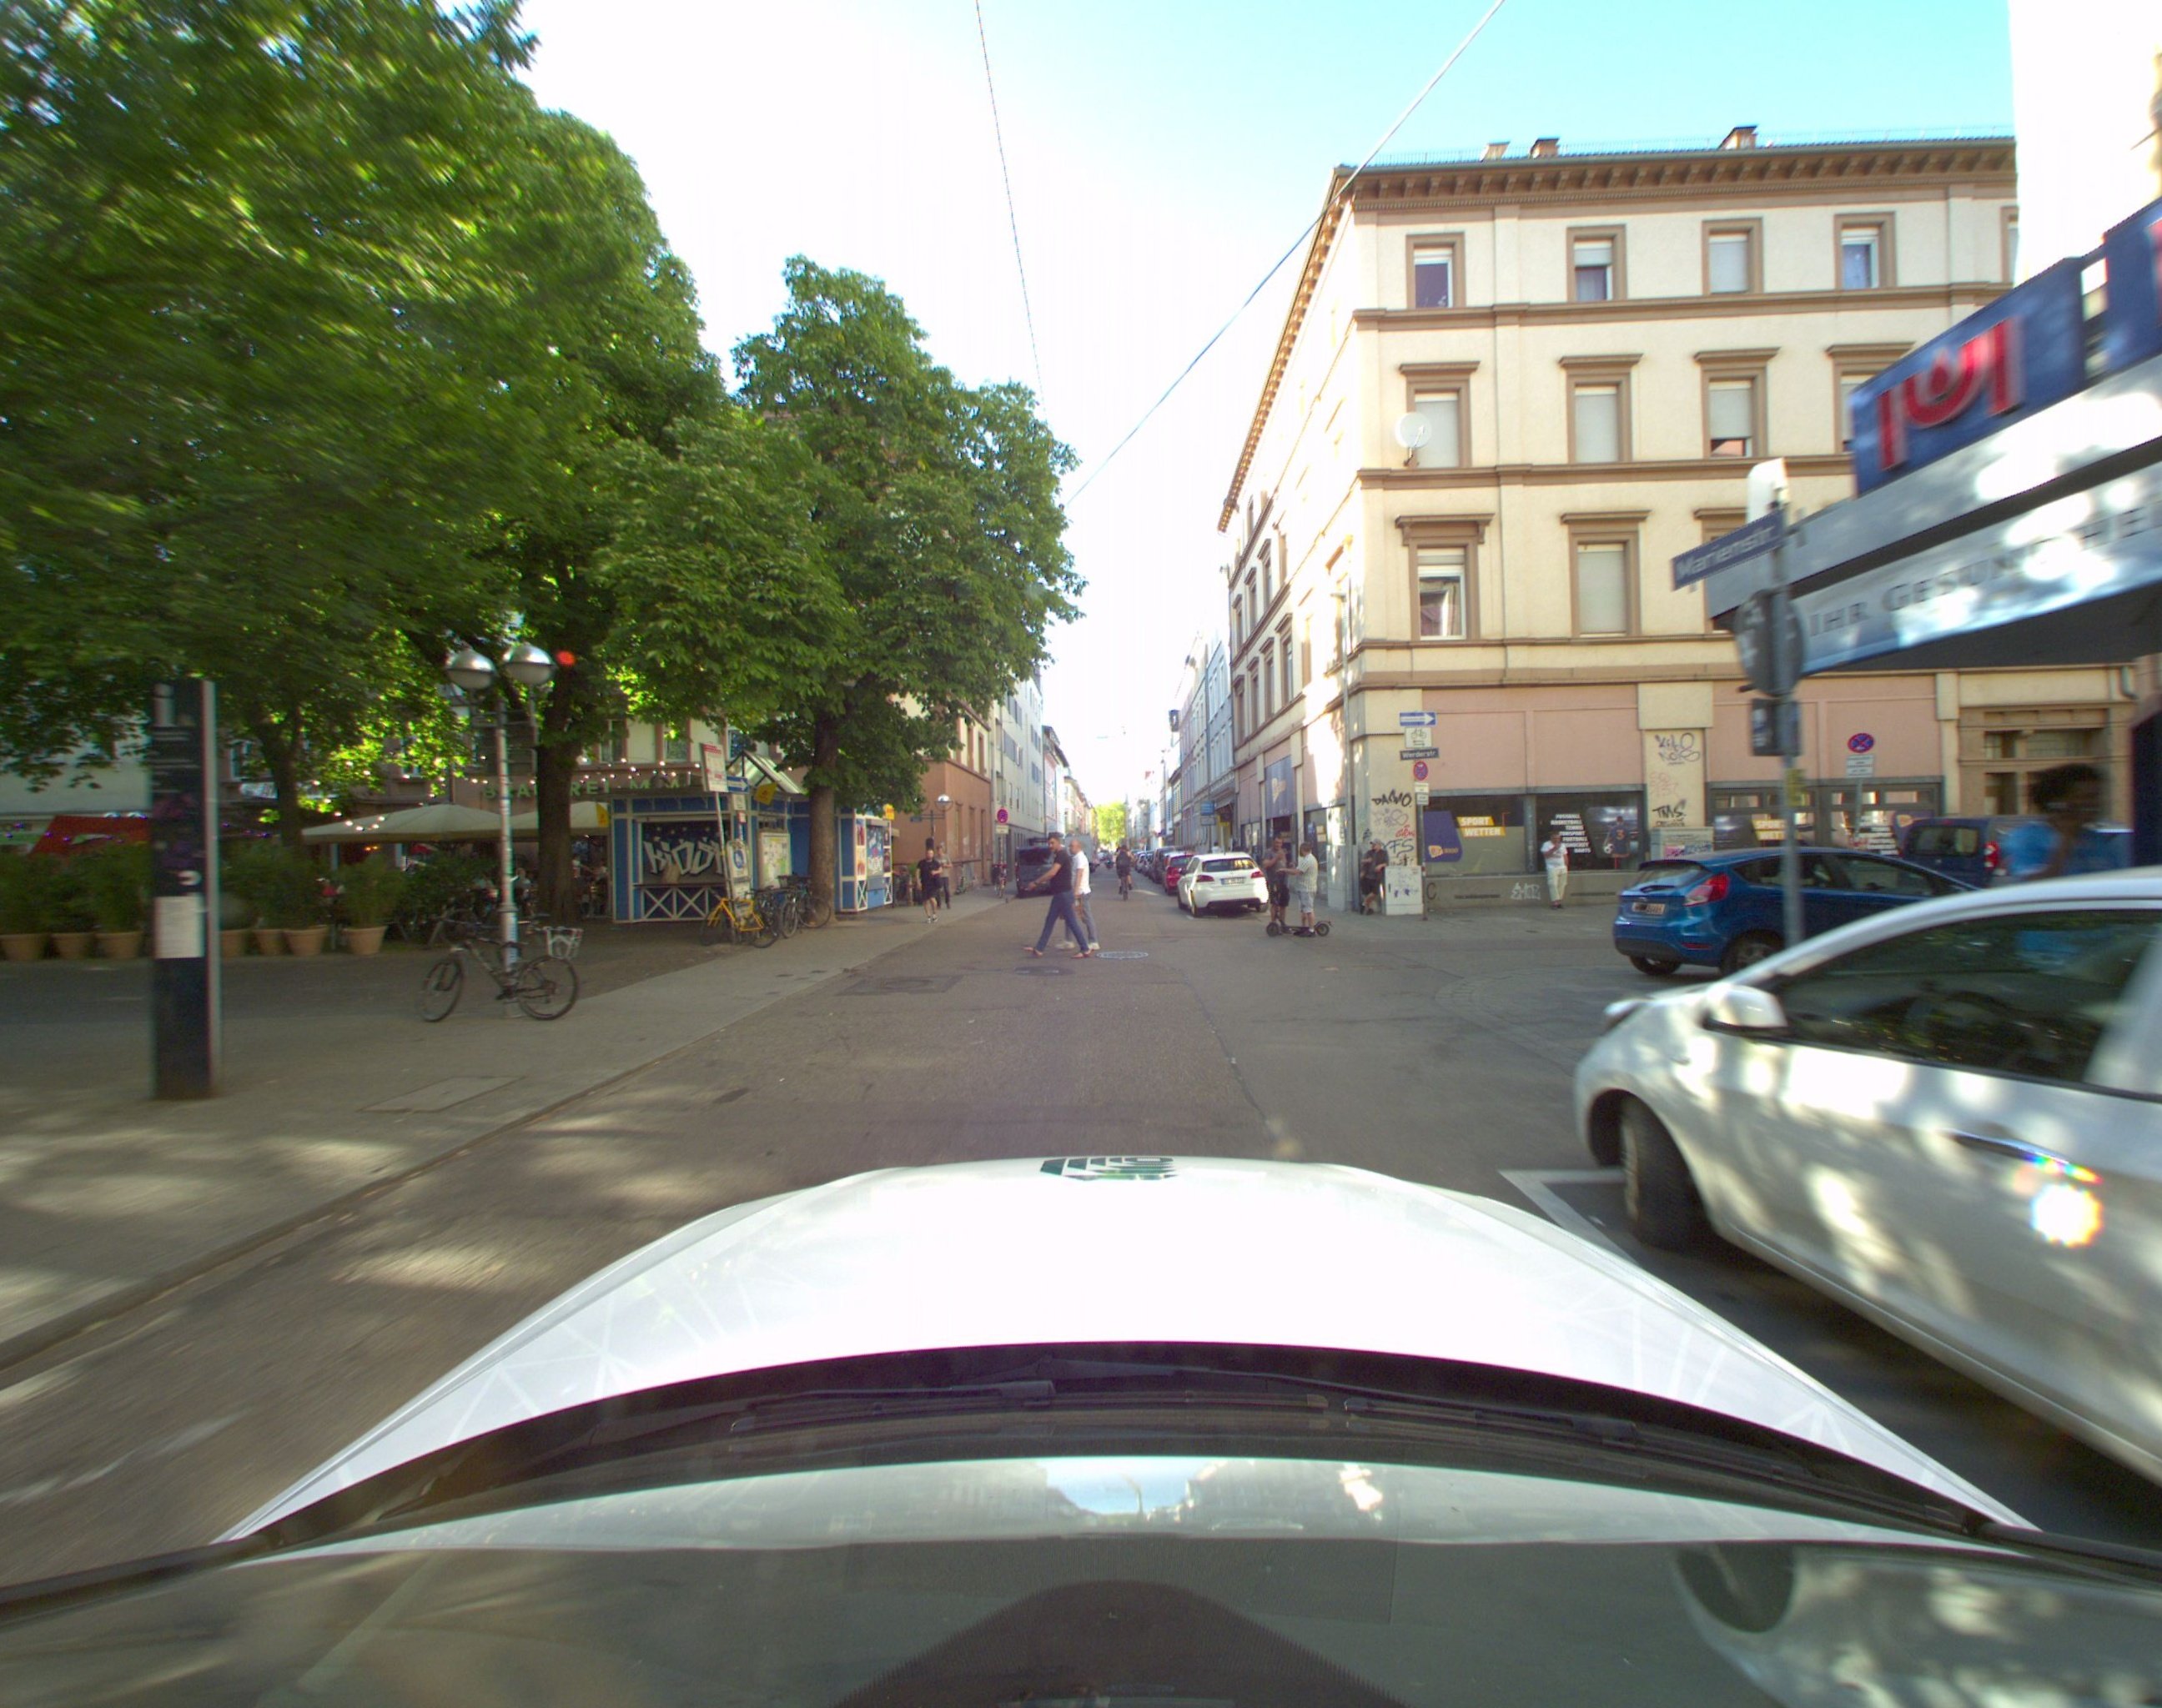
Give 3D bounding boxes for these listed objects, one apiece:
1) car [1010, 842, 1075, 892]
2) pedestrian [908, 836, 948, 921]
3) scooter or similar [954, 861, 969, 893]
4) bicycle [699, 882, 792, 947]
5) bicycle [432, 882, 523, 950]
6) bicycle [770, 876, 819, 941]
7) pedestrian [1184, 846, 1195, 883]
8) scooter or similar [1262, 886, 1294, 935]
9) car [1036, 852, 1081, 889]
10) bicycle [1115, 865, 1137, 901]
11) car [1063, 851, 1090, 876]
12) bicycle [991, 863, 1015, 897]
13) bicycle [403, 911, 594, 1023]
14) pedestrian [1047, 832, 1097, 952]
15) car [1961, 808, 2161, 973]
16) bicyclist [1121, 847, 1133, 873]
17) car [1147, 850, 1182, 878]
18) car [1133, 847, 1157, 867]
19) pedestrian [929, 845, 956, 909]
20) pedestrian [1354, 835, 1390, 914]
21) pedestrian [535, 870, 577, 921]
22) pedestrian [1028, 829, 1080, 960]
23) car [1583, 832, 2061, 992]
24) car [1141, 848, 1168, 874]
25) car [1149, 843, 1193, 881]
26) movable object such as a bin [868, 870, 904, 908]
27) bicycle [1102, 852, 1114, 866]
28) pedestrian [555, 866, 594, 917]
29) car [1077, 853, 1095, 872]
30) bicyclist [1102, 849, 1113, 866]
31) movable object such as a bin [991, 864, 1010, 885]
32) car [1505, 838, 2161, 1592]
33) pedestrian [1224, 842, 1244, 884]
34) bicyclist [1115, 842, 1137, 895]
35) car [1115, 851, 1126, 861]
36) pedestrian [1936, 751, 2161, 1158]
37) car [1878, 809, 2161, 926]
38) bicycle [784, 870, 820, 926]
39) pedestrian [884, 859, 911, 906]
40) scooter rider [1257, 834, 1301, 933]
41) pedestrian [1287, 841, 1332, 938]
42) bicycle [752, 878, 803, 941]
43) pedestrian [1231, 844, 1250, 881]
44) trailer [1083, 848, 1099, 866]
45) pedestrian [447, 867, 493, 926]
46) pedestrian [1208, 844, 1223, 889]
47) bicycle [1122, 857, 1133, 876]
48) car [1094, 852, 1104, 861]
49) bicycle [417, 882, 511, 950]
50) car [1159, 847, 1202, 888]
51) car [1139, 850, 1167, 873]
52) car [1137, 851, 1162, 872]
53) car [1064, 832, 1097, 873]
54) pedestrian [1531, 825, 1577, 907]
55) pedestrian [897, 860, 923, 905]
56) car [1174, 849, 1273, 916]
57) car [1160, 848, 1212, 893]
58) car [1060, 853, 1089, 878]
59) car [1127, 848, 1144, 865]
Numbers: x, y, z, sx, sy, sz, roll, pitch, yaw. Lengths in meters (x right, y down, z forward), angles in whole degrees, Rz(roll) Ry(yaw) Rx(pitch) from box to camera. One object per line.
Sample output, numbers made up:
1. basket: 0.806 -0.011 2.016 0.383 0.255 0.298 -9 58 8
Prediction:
1. car: -1.459 0.470 33.068 2.012 1.879 5.302 0 0 4
2. pedestrian: -3.437 0.545 18.333 0.713 1.873 0.720 0 -1 1
3. scooter or similar: -4.615 0.868 31.560 0.346 1.216 1.392 0 -1 2
4. bicycle: -5.817 1.036 14.126 1.562 1.082 0.348 -1 -1 12
5. bicycle: -11.485 1.142 15.575 0.227 1.091 1.938 0 1 2
6. bicycle: -5.394 1.002 15.415 0.291 1.082 1.579 0 1 2
7. pedestrian: 5.072 0.493 38.198 0.439 1.704 0.655 0 -1 3
8. scooter or similar: 3.564 1.010 14.789 0.392 0.828 0.926 0 -1 3
9. car: -1.007 0.775 38.447 1.744 1.522 3.871 -5 -1 2
10. bicycle: 1.425 0.898 26.017 0.674 1.074 1.942 0 -1 2
11. car: -0.284 0.678 60.171 1.710 1.650 4.247 -4 1 2
12. bicycle: -2.899 0.929 30.170 0.551 1.216 1.978 0 -1 -15
13. bicycle: -5.885 1.133 8.257 1.684 1.065 0.346 0 -1 0
14. pedestrian: -0.136 0.579 12.815 0.759 1.835 0.688 0 -1 0
15. car: 12.375 0.317 8.880 3.720 1.630 1.631 -1 0 2
16. bicyclist: 2.804 0.357 49.626 0.668 1.567 0.716 0 -1 2
17. car: 4.718 0.574 46.328 1.547 1.511 3.611 0 0 0
18. car: 5.742 0.266 73.335 1.911 1.706 4.368 -1 0 2
19. pedestrian: -4.016 0.659 23.663 0.644 1.834 0.698 1 -1 1
20. pedestrian: 6.313 0.436 17.676 0.593 1.650 0.468 -1 2 33
21. pedestrian: -13.987 1.096 21.692 0.693 1.321 0.615 -1 -1 10
22. pedestrian: -0.381 0.567 11.910 0.691 1.825 1.003 0 -1 0
23. car: 7.861 0.580 8.944 3.559 1.486 1.790 -2 0 2
24. car: 4.895 0.471 54.507 1.550 1.712 3.560 0 -1 2
25. car: 4.476 0.412 41.174 1.892 1.793 4.317 0 0 2
26. movable object such as a bin: -5.746 1.027 24.034 0.866 1.086 0.774 0 -1 2
27. bicycle: 2.630 0.506 79.353 0.973 1.314 2.558 -3 0 3
28. pedestrian: -13.338 0.991 21.472 0.595 1.321 0.635 -1 -1 8
29. car: 0.525 0.881 85.103 1.746 1.816 4.079 -3 -1 1
30. bicyclist: 2.582 0.320 78.860 0.946 1.628 0.954 -3 0 3
31. movable object such as a bin: -3.969 1.008 40.180 0.752 1.067 0.655 -1 -1 22
32. car: 2.928 0.698 2.161 1.684 1.463 3.639 0 0 -1
33. pedestrian: 6.416 0.377 34.250 0.628 1.740 0.656 0 -1 -11
34. bicyclist: 1.417 0.460 26.011 0.665 1.677 1.097 0 -1 2
35. car: 6.361 0.265 130.820 1.605 1.560 3.612 -1 0 2
36. pedestrian: 4.837 0.468 4.062 0.559 1.894 0.530 0 -1 1
37. car: 16.964 0.178 14.384 3.910 1.840 1.870 -2 2 2
38. bicycle: -6.231 0.952 18.250 0.497 1.131 2.030 0 0 -11
39. pedestrian: -5.804 0.897 25.769 0.703 1.445 0.617 0 -1 1
40. scooter rider: 3.647 0.533 14.988 0.558 1.778 0.615 -1 -1 37
41. pedestrian: 3.975 0.606 14.177 0.568 1.638 0.522 0 -1 -44
42. bicycle: -5.717 1.018 15.403 0.291 1.046 1.579 0 1 2
43. pedestrian: 6.550 0.348 33.495 0.586 1.529 0.658 0 -1 -3
44. trailer: 1.264 0.371 100.546 1.875 2.092 3.739 -2 -1 2
45. pedestrian: -14.019 0.969 18.696 0.566 1.321 0.634 0 -1 1
46. pedestrian: 5.246 0.487 31.828 0.557 1.740 0.429 -1 -1 9
47. bicycle: 2.812 0.766 49.559 0.646 1.129 2.137 0 -1 2
48. car: 3.447 0.512 153.952 1.743 1.683 3.797 -2 -1 2
49. bicycle: -11.740 1.143 15.572 0.227 1.091 1.938 0 2 2
50. car: 4.263 0.578 35.308 1.563 1.557 3.317 -5 -1 4
51. car: 5.185 0.554 59.295 1.690 1.543 4.630 -3 -1 2
52. car: 5.446 0.578 64.971 1.680 1.543 4.047 -3 -1 2
53. car: 0.021 -0.126 71.086 2.334 3.291 7.159 -3 -1 3
54. pedestrian: 10.177 0.252 17.528 0.688 1.726 0.475 0 -1 1
55. pedestrian: -5.537 0.906 26.402 0.703 1.445 0.617 0 -1 1
56. car: 3.474 0.665 20.630 1.781 1.516 4.136 0 0 0
57. car: 3.899 0.601 30.659 1.600 1.572 3.555 0 0 2
58. car: -0.406 0.744 54.682 1.710 1.478 4.501 -4 1 2
59. car: 6.490 0.330 97.081 1.744 1.879 3.971 -2 -1 0
